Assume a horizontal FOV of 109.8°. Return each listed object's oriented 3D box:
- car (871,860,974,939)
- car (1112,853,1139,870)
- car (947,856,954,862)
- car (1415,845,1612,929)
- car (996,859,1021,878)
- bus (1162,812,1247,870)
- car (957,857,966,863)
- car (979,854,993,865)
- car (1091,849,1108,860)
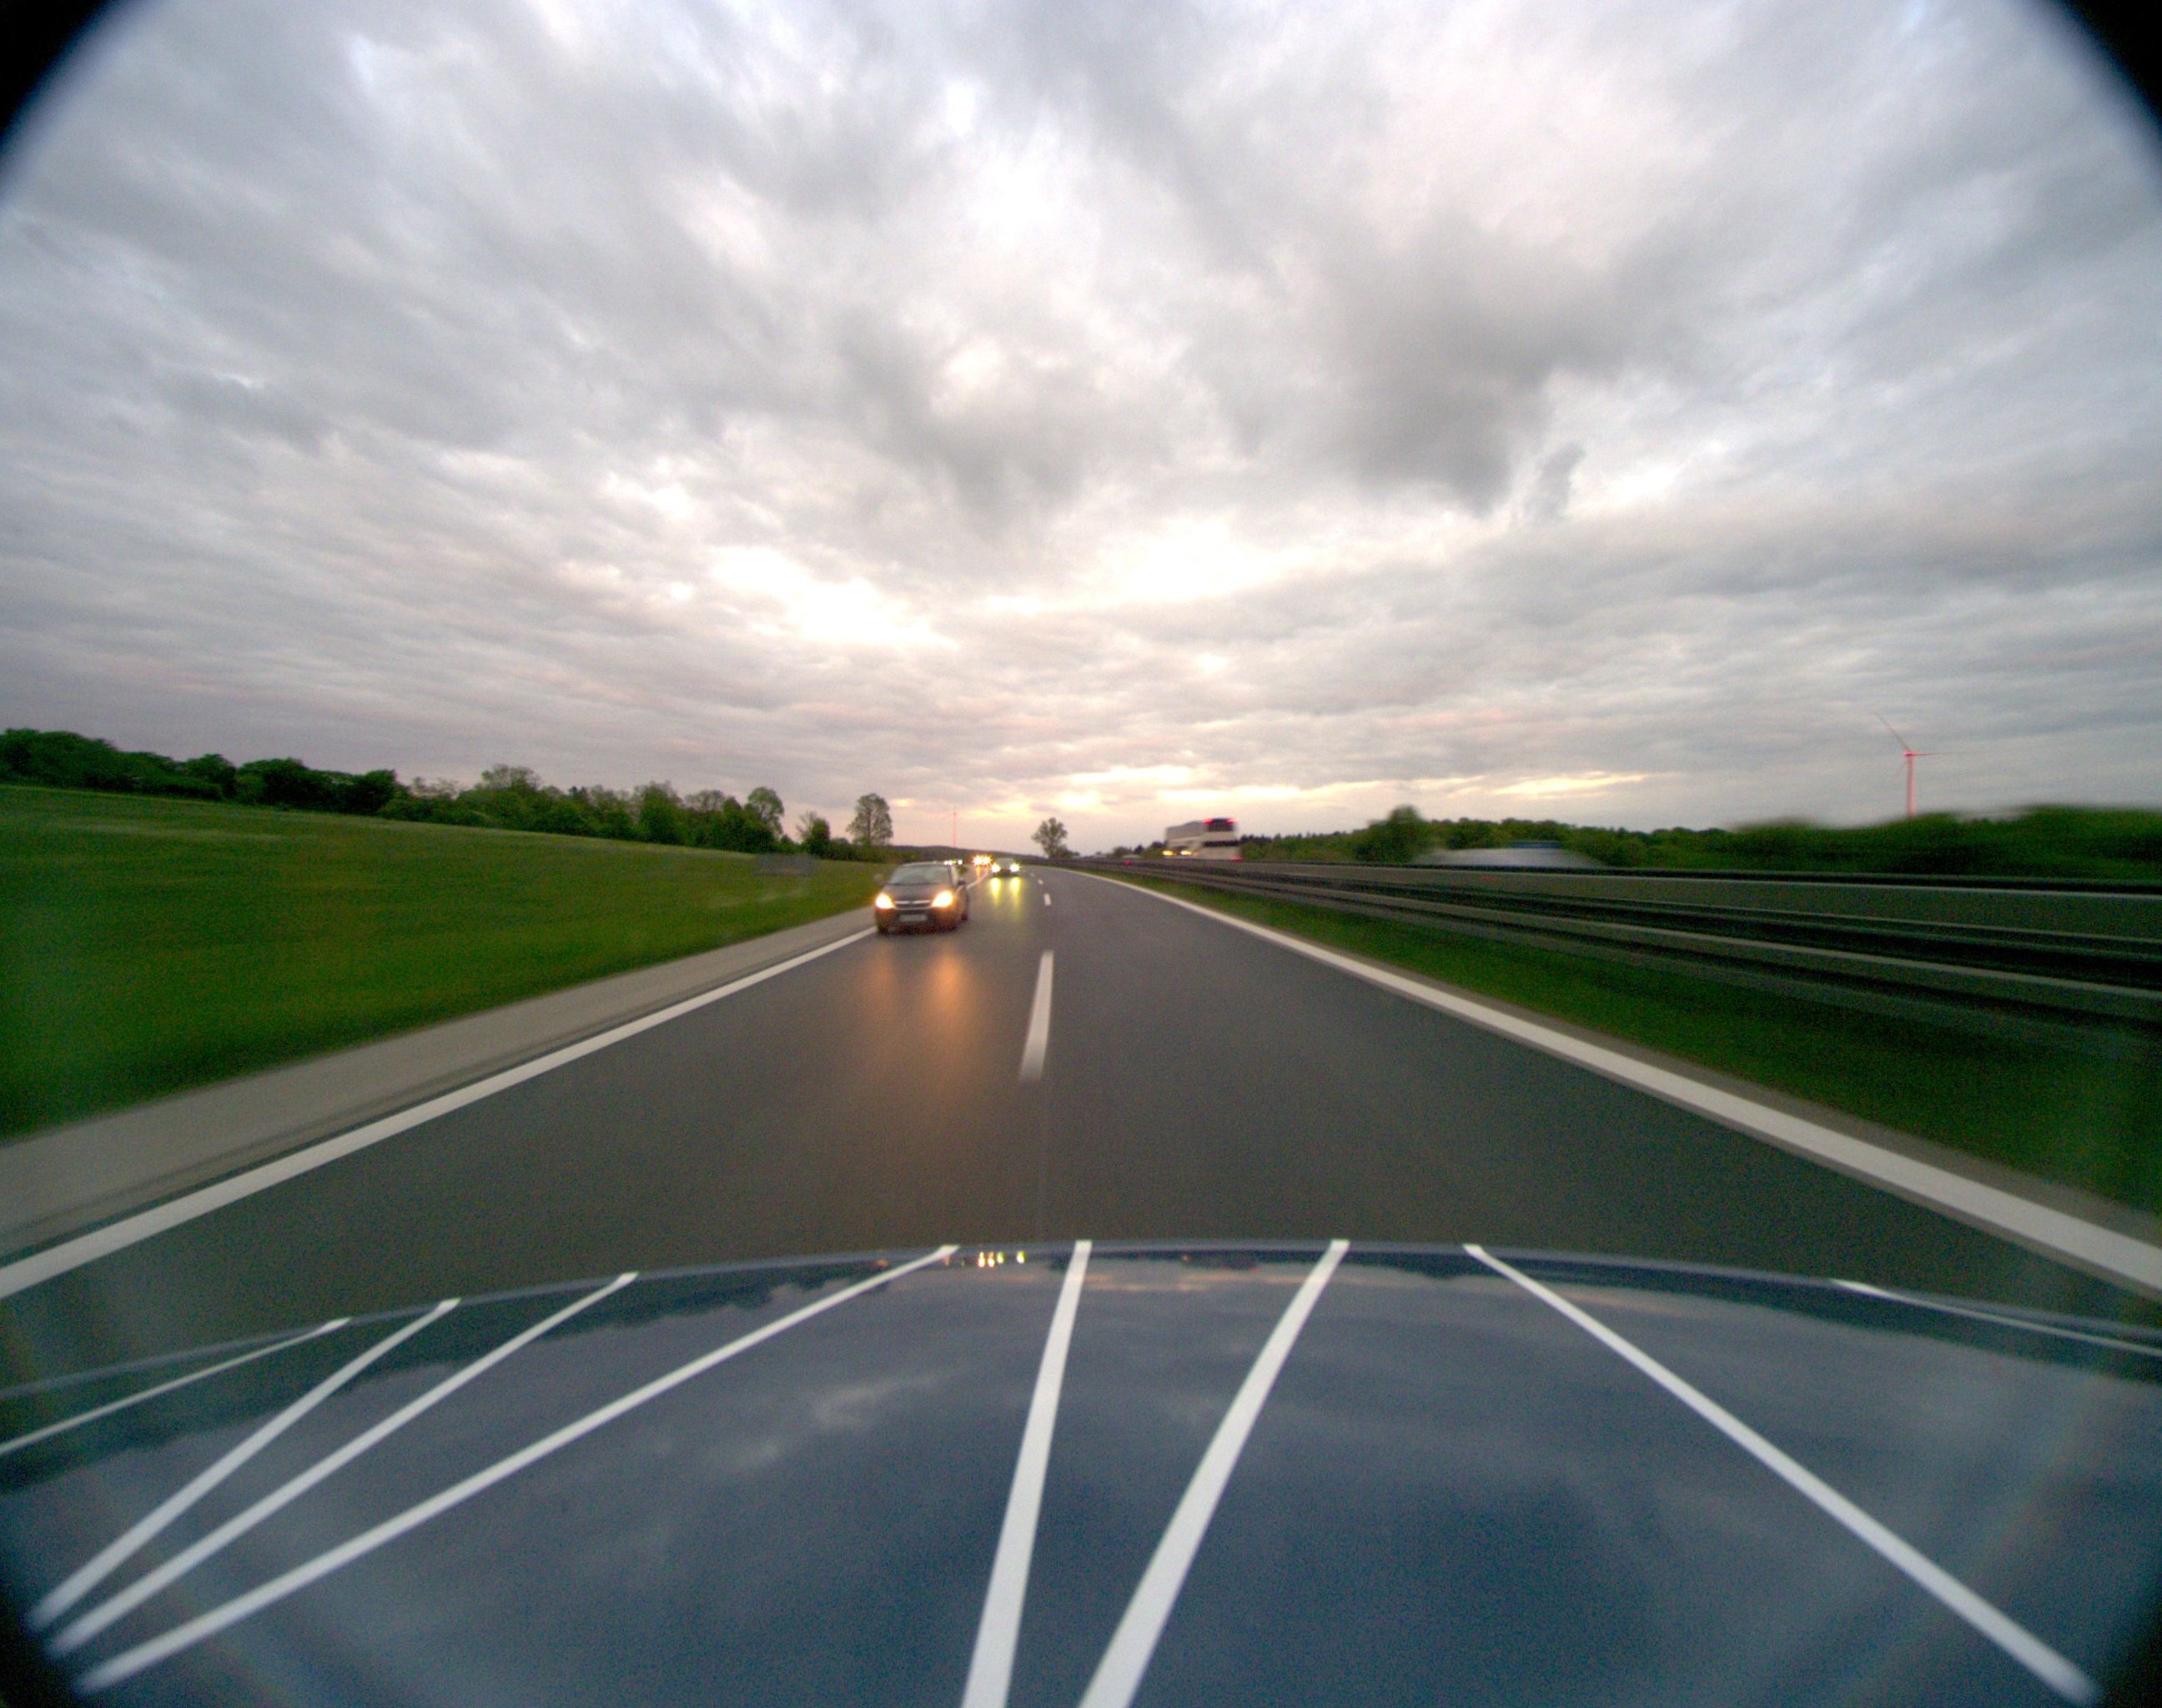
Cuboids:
[{"bbox_3d":[-3.501,0.943,17.423,1.682,1.504,3.998,-2,0,-3],"label":"car"},{"bbox_3d":[4.159,0.676,71.426,1.857,1.466,4.165,0,0,-6],"label":"car"},{"bbox_3d":[-38.121,1.516,221.996,1.804,1.635,4.088,-1,1,-16],"label":"car"},{"bbox_3d":[9.037,0.618,16.328,1.870,1.506,3.999,-2,0,-1],"label":"car"},{"bbox_3d":[-5.600,1.069,59.071,1.885,1.388,3.998,0,0,-5],"label":"car"},{"bbox_3d":[9.706,-1.036,62.256,3.175,4.053,14.802,-2,1,-5],"label":"bus"},{"bbox_3d":[-31.521,1.565,200.324,1.804,1.635,4.089,-1,1,-13],"label":"car"},{"bbox_3d":[-16.887,0.962,135.019,1.922,1.827,3.995,0,0,-13],"label":"car"},{"bbox_3d":[2.612,0.038,108.136,1.637,1.546,4.466,0,0,-8],"label":"car"}]
